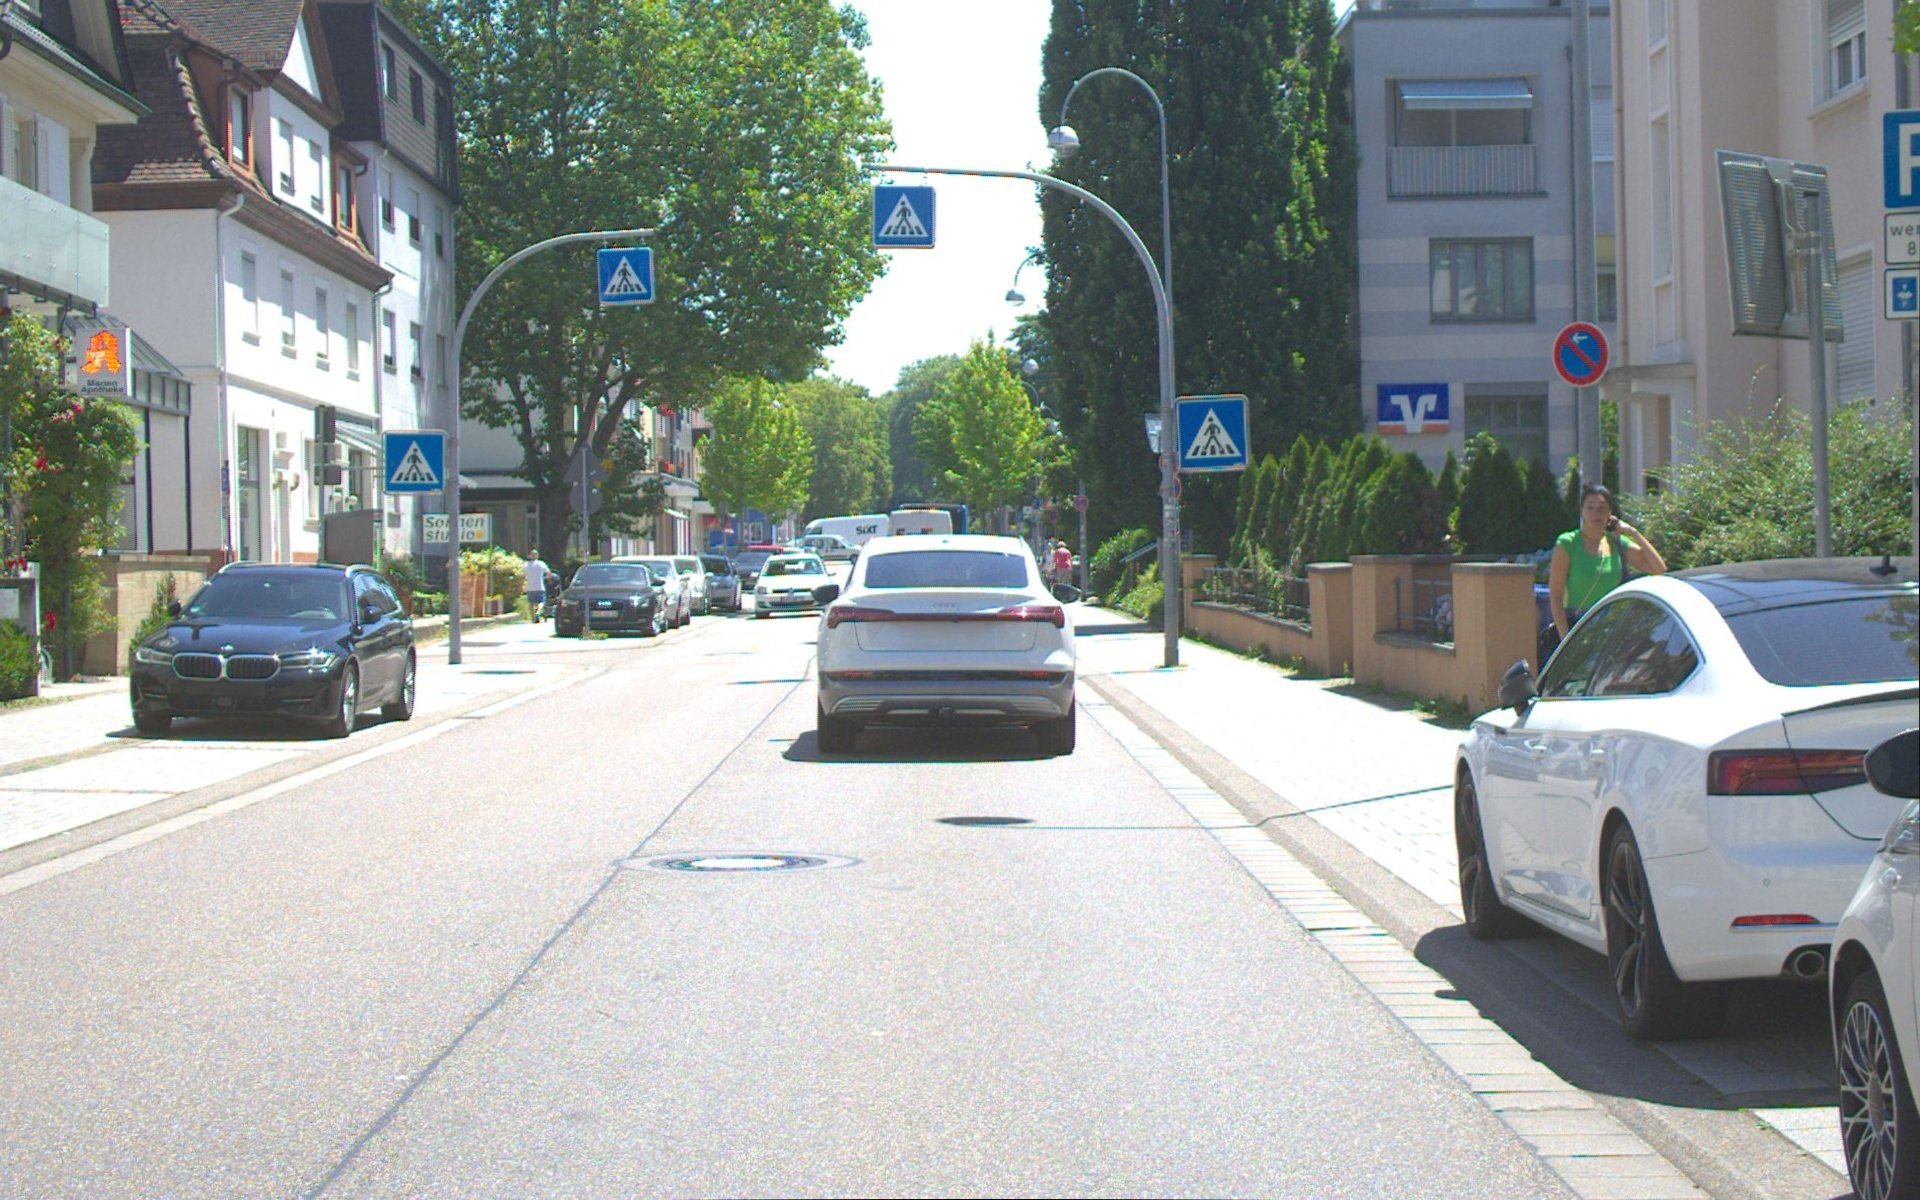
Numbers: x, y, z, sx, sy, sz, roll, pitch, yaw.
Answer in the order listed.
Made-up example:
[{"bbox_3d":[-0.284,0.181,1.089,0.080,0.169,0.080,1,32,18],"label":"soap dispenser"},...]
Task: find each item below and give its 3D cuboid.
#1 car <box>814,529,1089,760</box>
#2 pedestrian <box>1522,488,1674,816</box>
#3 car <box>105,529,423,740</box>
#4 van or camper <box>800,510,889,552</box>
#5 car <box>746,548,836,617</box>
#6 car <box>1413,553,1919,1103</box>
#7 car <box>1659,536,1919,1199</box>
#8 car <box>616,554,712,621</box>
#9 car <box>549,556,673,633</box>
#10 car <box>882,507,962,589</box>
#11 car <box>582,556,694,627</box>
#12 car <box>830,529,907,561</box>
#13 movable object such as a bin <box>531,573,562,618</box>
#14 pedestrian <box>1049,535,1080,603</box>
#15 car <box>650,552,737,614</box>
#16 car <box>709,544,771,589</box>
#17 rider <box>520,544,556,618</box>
[{"bbox_3d":[-0.064,0.285,26.859,1.936,1.609,4.472,1,1,0],"label":"car"},{"bbox_3d":[3.494,0.277,18.859,0.637,1.752,0.617,-1,1,-5],"label":"pedestrian"},{"bbox_3d":[-6.196,0.261,31.136,1.926,1.714,4.472,-2,1,0],"label":"car"},{"bbox_3d":[-7.360,-4.414,219.128,5.190,2.505,2.269,-2,1,-17],"label":"van or camper"},{"bbox_3d":[-3.926,-0.429,80.378,1.978,1.515,4.000,-1,1,-1],"label":"car"},{"bbox_3d":[2.718,0.575,11.322,1.726,1.378,4.402,-3,1,-1],"label":"car"},{"bbox_3d":[2.688,0.598,6.595,1.658,1.483,4.346,-3,1,-1],"label":"car"},{"bbox_3d":[-7.044,-0.310,82.092,1.993,1.515,4.000,-1,1,-1],"label":"car"},{"bbox_3d":[-6.528,-0.132,64.664,1.993,1.345,4.000,-1,1,-1],"label":"car"},{"bbox_3d":[-1.107,-1.458,96.896,2.069,2.189,5.138,-1,1,-2],"label":"car"},{"bbox_3d":[-6.633,-0.194,71.182,1.993,1.378,4.000,-1,1,-1],"label":"car"},{"bbox_3d":[-5.023,-3.039,189.324,3.988,1.645,2.000,-1,1,7],"label":"car"},{"bbox_3d":[-8.933,-0.100,74.267,0.587,0.949,0.566,-1,1,-1],"label":"movable object such as a bin"},{"bbox_3d":[2.729,-0.809,89.819,0.693,1.730,0.668,-2,0,-5],"label":"pedestrian"},{"bbox_3d":[-6.818,-0.464,88.331,1.993,1.515,4.000,-1,1,-1],"label":"car"},{"bbox_3d":[-7.873,-1.205,123.324,1.993,1.515,4.000,-1,1,-1],"label":"car"},{"bbox_3d":[-9.046,-0.406,73.647,0.661,1.548,0.661,-1,1,-1],"label":"rider"}]
